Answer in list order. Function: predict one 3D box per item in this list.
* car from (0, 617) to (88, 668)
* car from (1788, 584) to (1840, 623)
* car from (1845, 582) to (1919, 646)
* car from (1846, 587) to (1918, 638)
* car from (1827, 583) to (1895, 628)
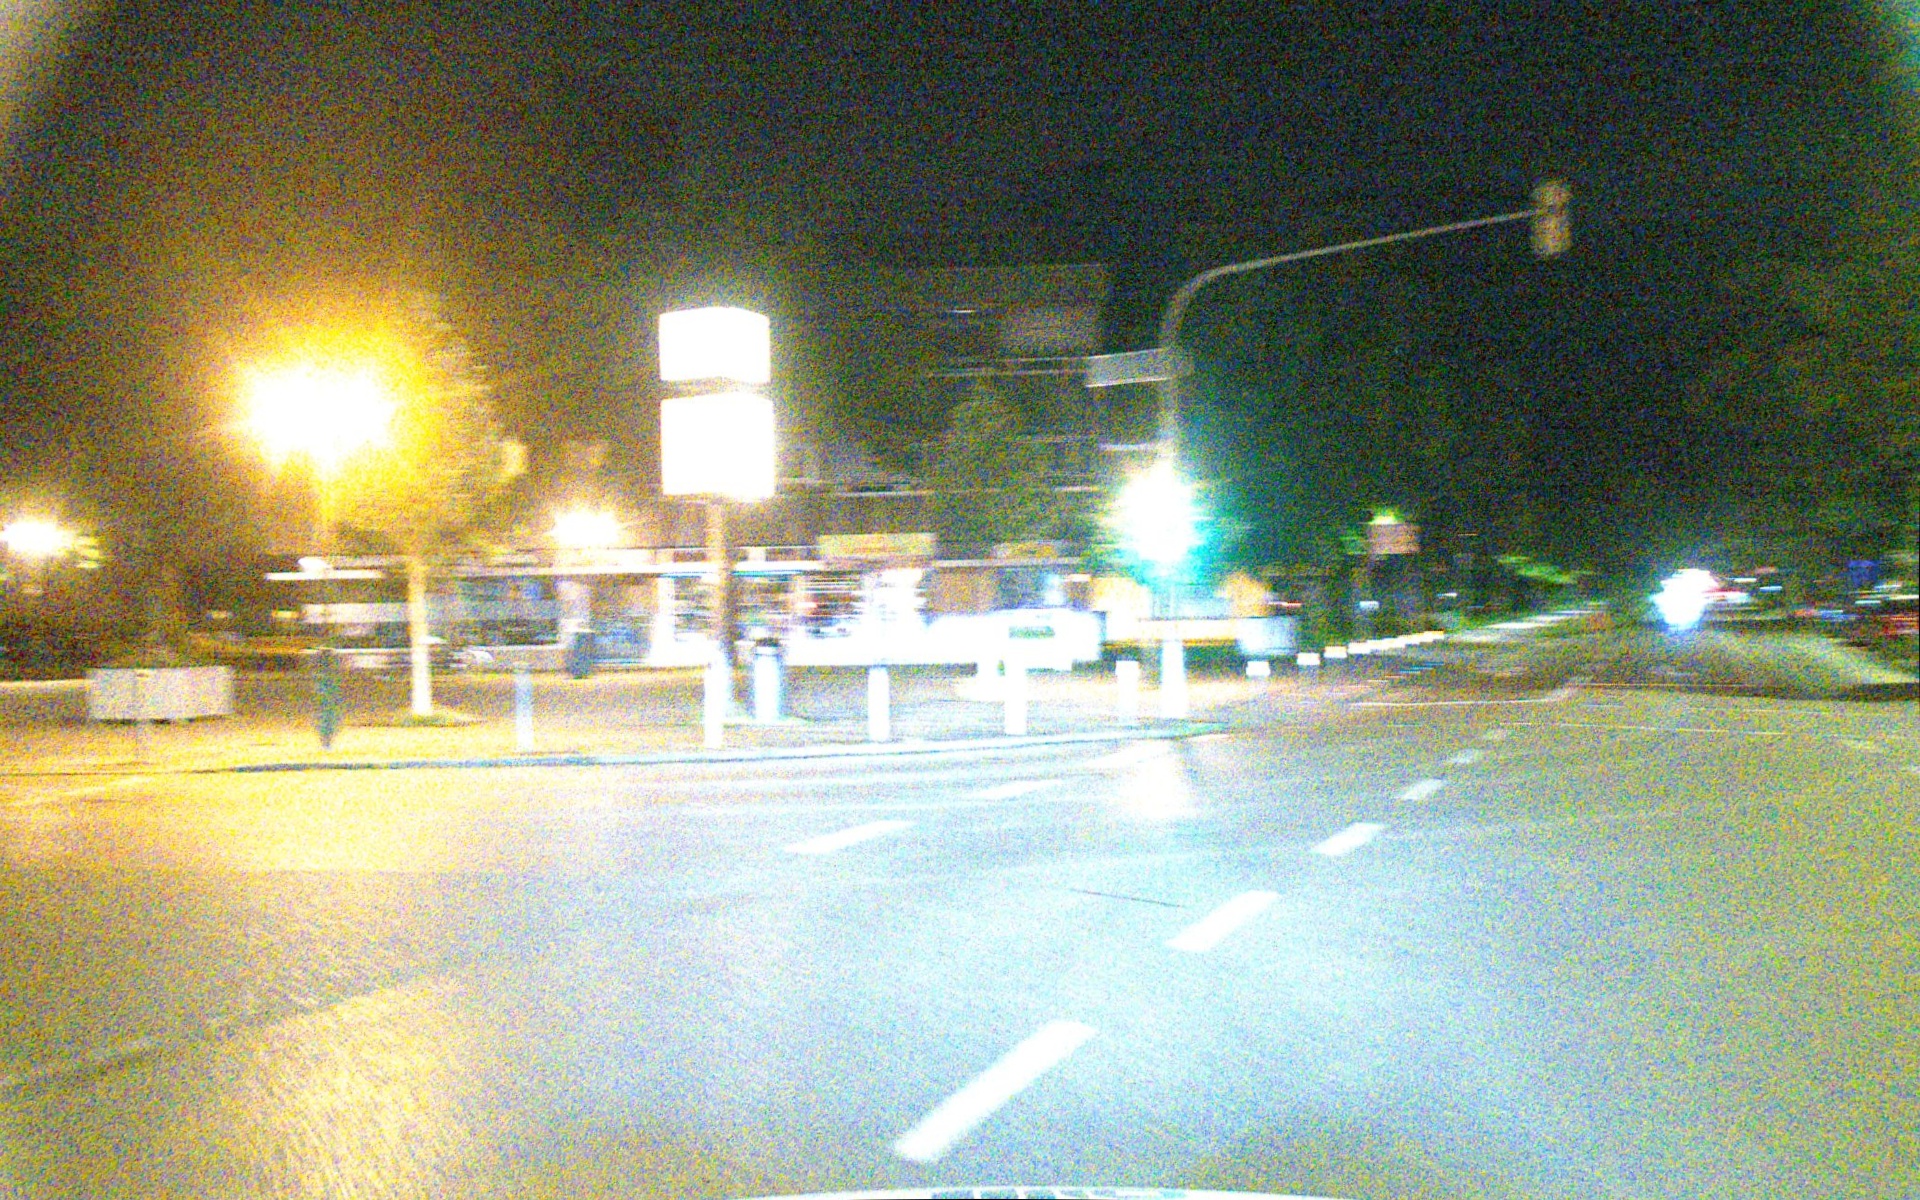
[{"bbox_3d":[-29.704,1.317,52.530,1.879,1.476,4.000,0,0,0],"label":"car"},{"bbox_3d":[38.107,0.140,73.764,1.968,1.654,3.889,0,1,28],"label":"car"},{"bbox_3d":[25.828,0.349,45.707,1.829,1.682,3.865,0,0,19],"label":"car"},{"bbox_3d":[28.047,0.360,50.394,1.853,1.478,3.889,1,1,28],"label":"car"},{"bbox_3d":[31.141,0.160,57.240,1.852,1.478,3.892,0,1,26],"label":"car"}]
